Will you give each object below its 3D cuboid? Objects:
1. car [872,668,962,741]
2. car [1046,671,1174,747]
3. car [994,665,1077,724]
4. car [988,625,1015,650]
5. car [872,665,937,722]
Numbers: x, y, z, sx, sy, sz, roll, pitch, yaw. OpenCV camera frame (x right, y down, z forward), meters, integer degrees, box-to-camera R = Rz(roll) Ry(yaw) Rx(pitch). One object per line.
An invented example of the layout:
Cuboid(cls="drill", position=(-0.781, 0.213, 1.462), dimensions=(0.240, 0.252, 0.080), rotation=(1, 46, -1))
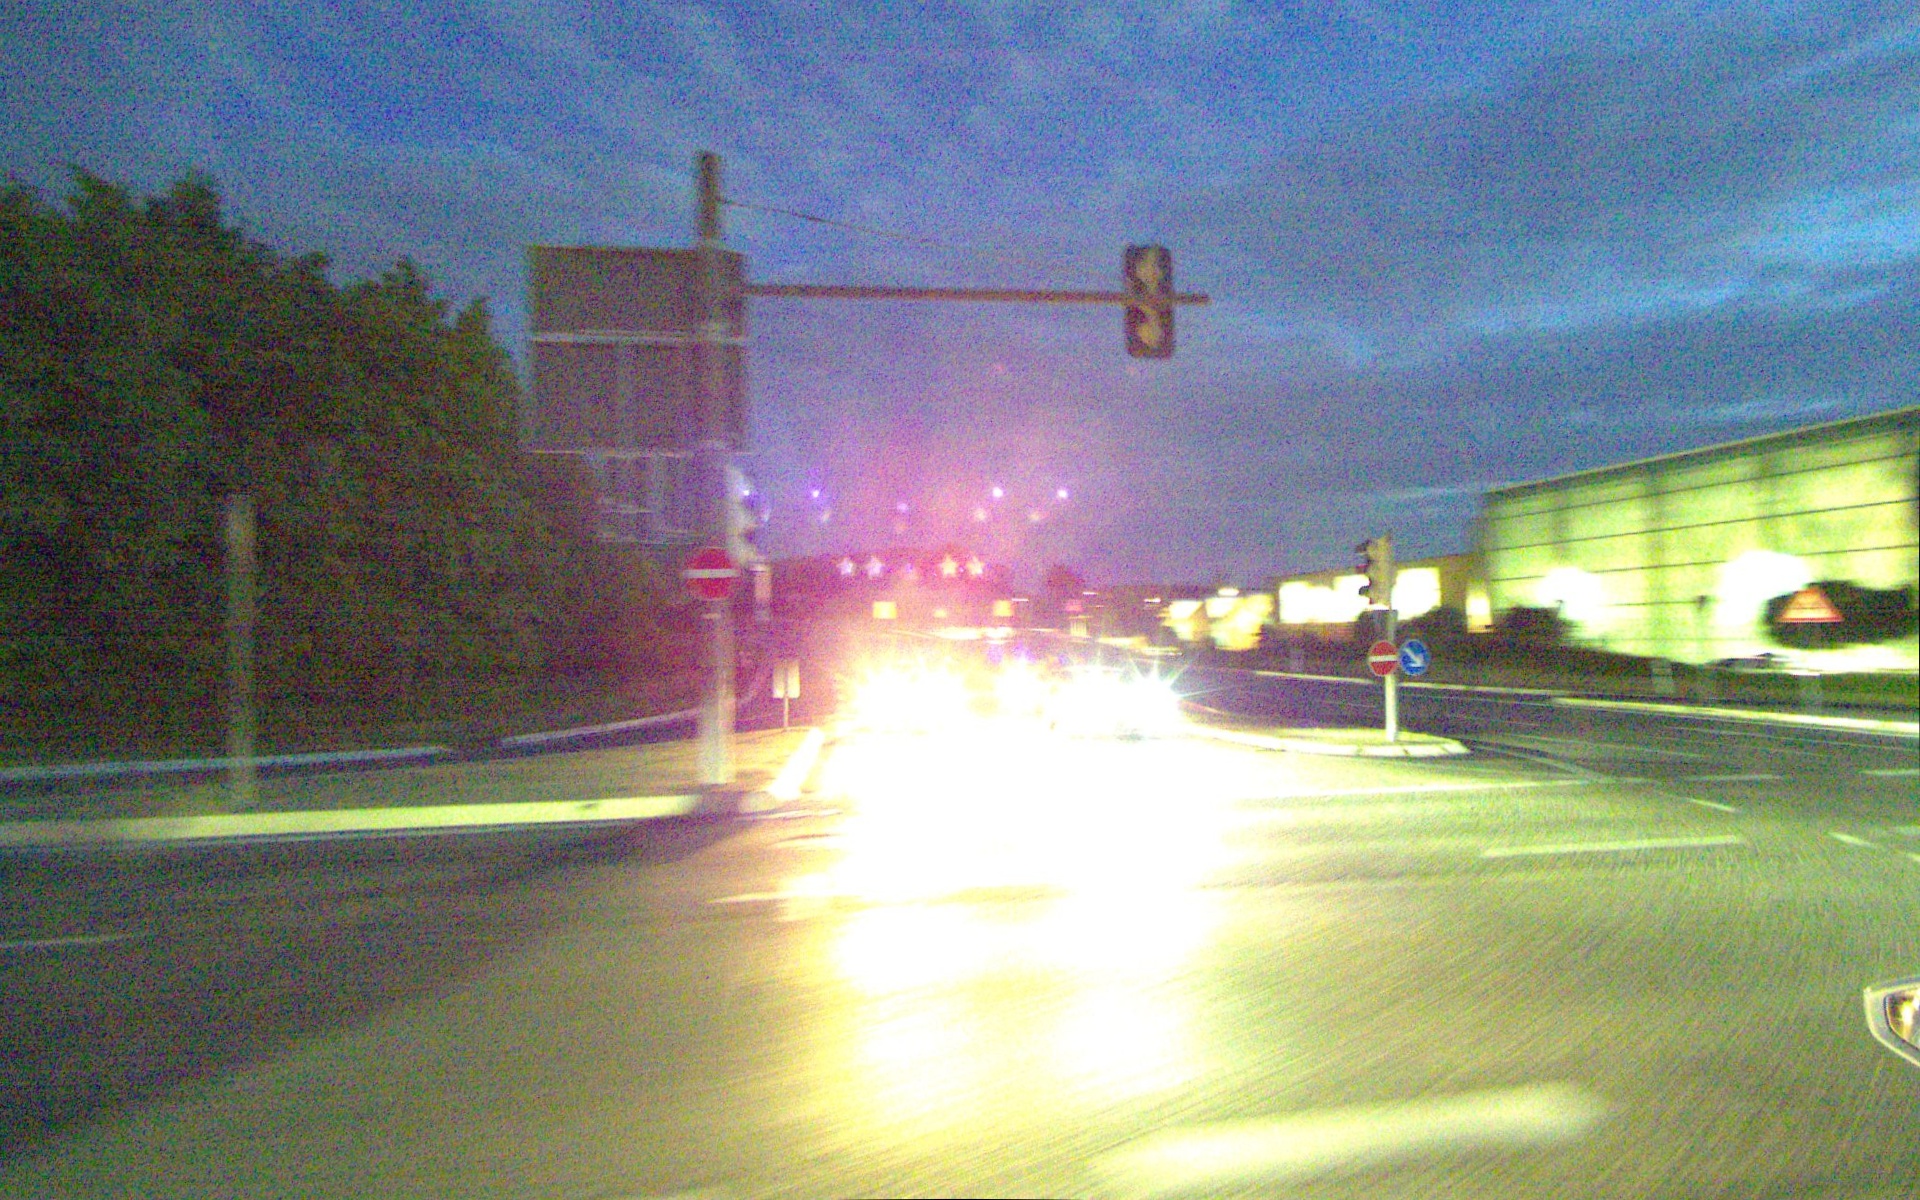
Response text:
Cuboid(cls="car", position=(-1.080, 2.366, 23.387), dimensions=(1.727, 1.479, 3.997), rotation=(1, -3, -7))
Cuboid(cls="car", position=(3.145, 2.293, 21.797), dimensions=(1.674, 1.493, 3.866), rotation=(1, -4, -9))
Cuboid(cls="car", position=(2.143, 2.706, 29.562), dimensions=(1.684, 1.463, 3.981), rotation=(0, -2, -7))
Cuboid(cls="car", position=(3.459, 3.139, 84.433), dimensions=(1.961, 2.040, 3.999), rotation=(1, -1, -3))
Cuboid(cls="car", position=(-1.718, 2.737, 30.076), dimensions=(1.658, 1.478, 3.809), rotation=(-1, -2, -7))
